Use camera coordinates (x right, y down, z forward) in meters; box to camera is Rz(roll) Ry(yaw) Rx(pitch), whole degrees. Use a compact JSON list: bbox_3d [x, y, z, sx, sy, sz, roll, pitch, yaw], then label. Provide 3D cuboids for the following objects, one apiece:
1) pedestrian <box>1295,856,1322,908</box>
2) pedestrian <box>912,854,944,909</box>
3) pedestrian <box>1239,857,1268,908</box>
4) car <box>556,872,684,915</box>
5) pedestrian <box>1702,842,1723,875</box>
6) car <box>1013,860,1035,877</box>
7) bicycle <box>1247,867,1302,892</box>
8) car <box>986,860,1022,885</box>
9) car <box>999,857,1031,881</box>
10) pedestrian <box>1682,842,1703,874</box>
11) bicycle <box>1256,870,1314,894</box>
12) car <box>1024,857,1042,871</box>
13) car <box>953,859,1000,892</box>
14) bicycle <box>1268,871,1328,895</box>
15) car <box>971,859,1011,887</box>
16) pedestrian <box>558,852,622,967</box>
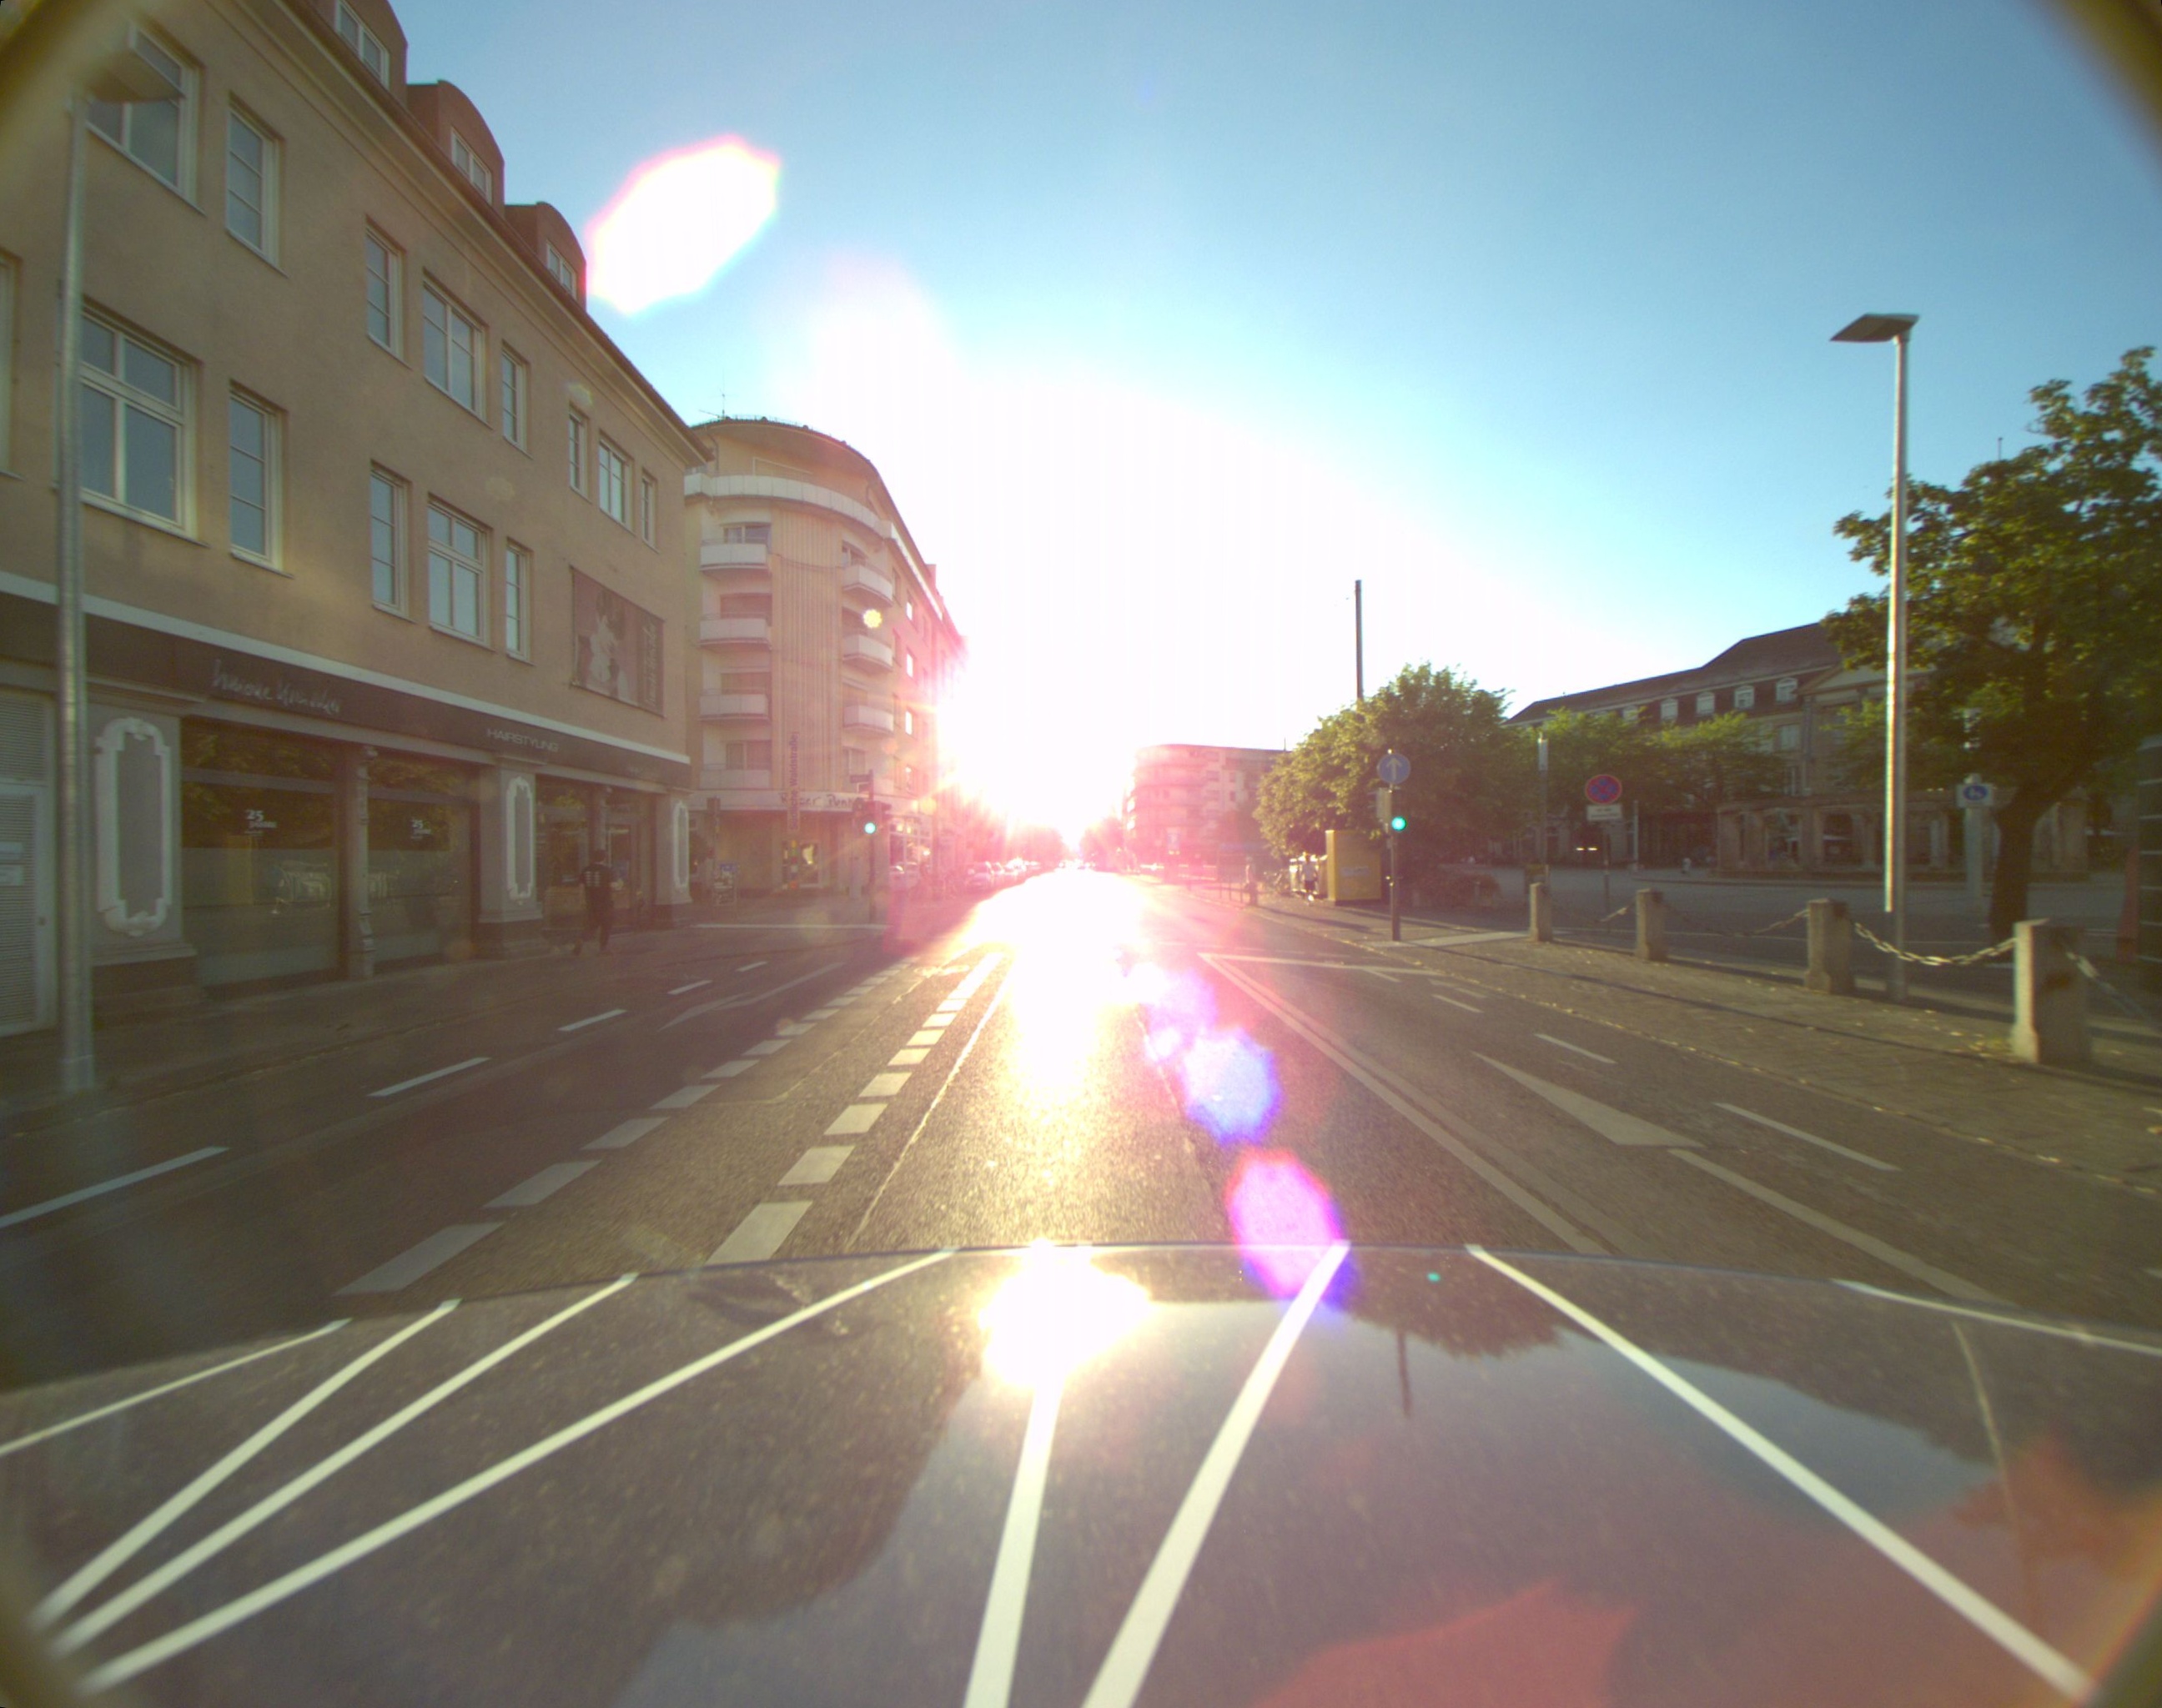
[{"bbox_3d":[7.603,0.917,25.379,0.778,1.666,0.907,-2,1,13],"label":"pedestrian"},{"bbox_3d":[-4.957,0.880,24.642,0.842,1.736,0.701,-2,1,-1],"label":"pedestrian"},{"bbox_3d":[5.905,0.965,26.060,0.905,1.666,0.780,-2,1,11],"label":"pedestrian"},{"bbox_3d":[-18.608,1.591,30.694,4.499,1.538,2.003,-2,1,20],"label":"car"},{"bbox_3d":[31.847,0.217,38.308,0.555,1.666,0.673,-3,1,-33],"label":"pedestrian"},{"bbox_3d":[-5.906,1.490,79.236,1.999,1.538,4.508,-2,1,-2],"label":"car"},{"bbox_3d":[9.081,1.200,35.693,2.399,1.065,0.673,-2,1,7],"label":"bicycle"},{"bbox_3d":[-5.274,1.223,52.476,1.998,1.538,4.509,-2,1,0],"label":"car"},{"bbox_3d":[-5.041,1.108,58.321,1.998,1.638,4.509,-2,1,0],"label":"car"},{"bbox_3d":[31.758,0.213,39.478,0.612,1.666,0.679,-3,1,-34],"label":"pedestrian"},{"bbox_3d":[9.133,1.251,34.039,2.399,0.953,0.673,-2,1,7],"label":"bicycle"},{"bbox_3d":[-5.781,1.237,92.114,1.999,1.538,4.508,-2,1,-2],"label":"car"},{"bbox_3d":[-5.506,1.114,40.605,1.999,1.538,4.508,-2,1,-2],"label":"car"},{"bbox_3d":[9.408,1.244,32.979,2.399,0.953,0.673,-2,1,7],"label":"bicycle"},{"bbox_3d":[-5.530,1.157,47.184,1.999,1.538,4.508,-2,1,-2],"label":"car"},{"bbox_3d":[-7.896,0.873,12.252,0.673,1.774,0.721,1,2,-17],"label":"pedestrian"}]
